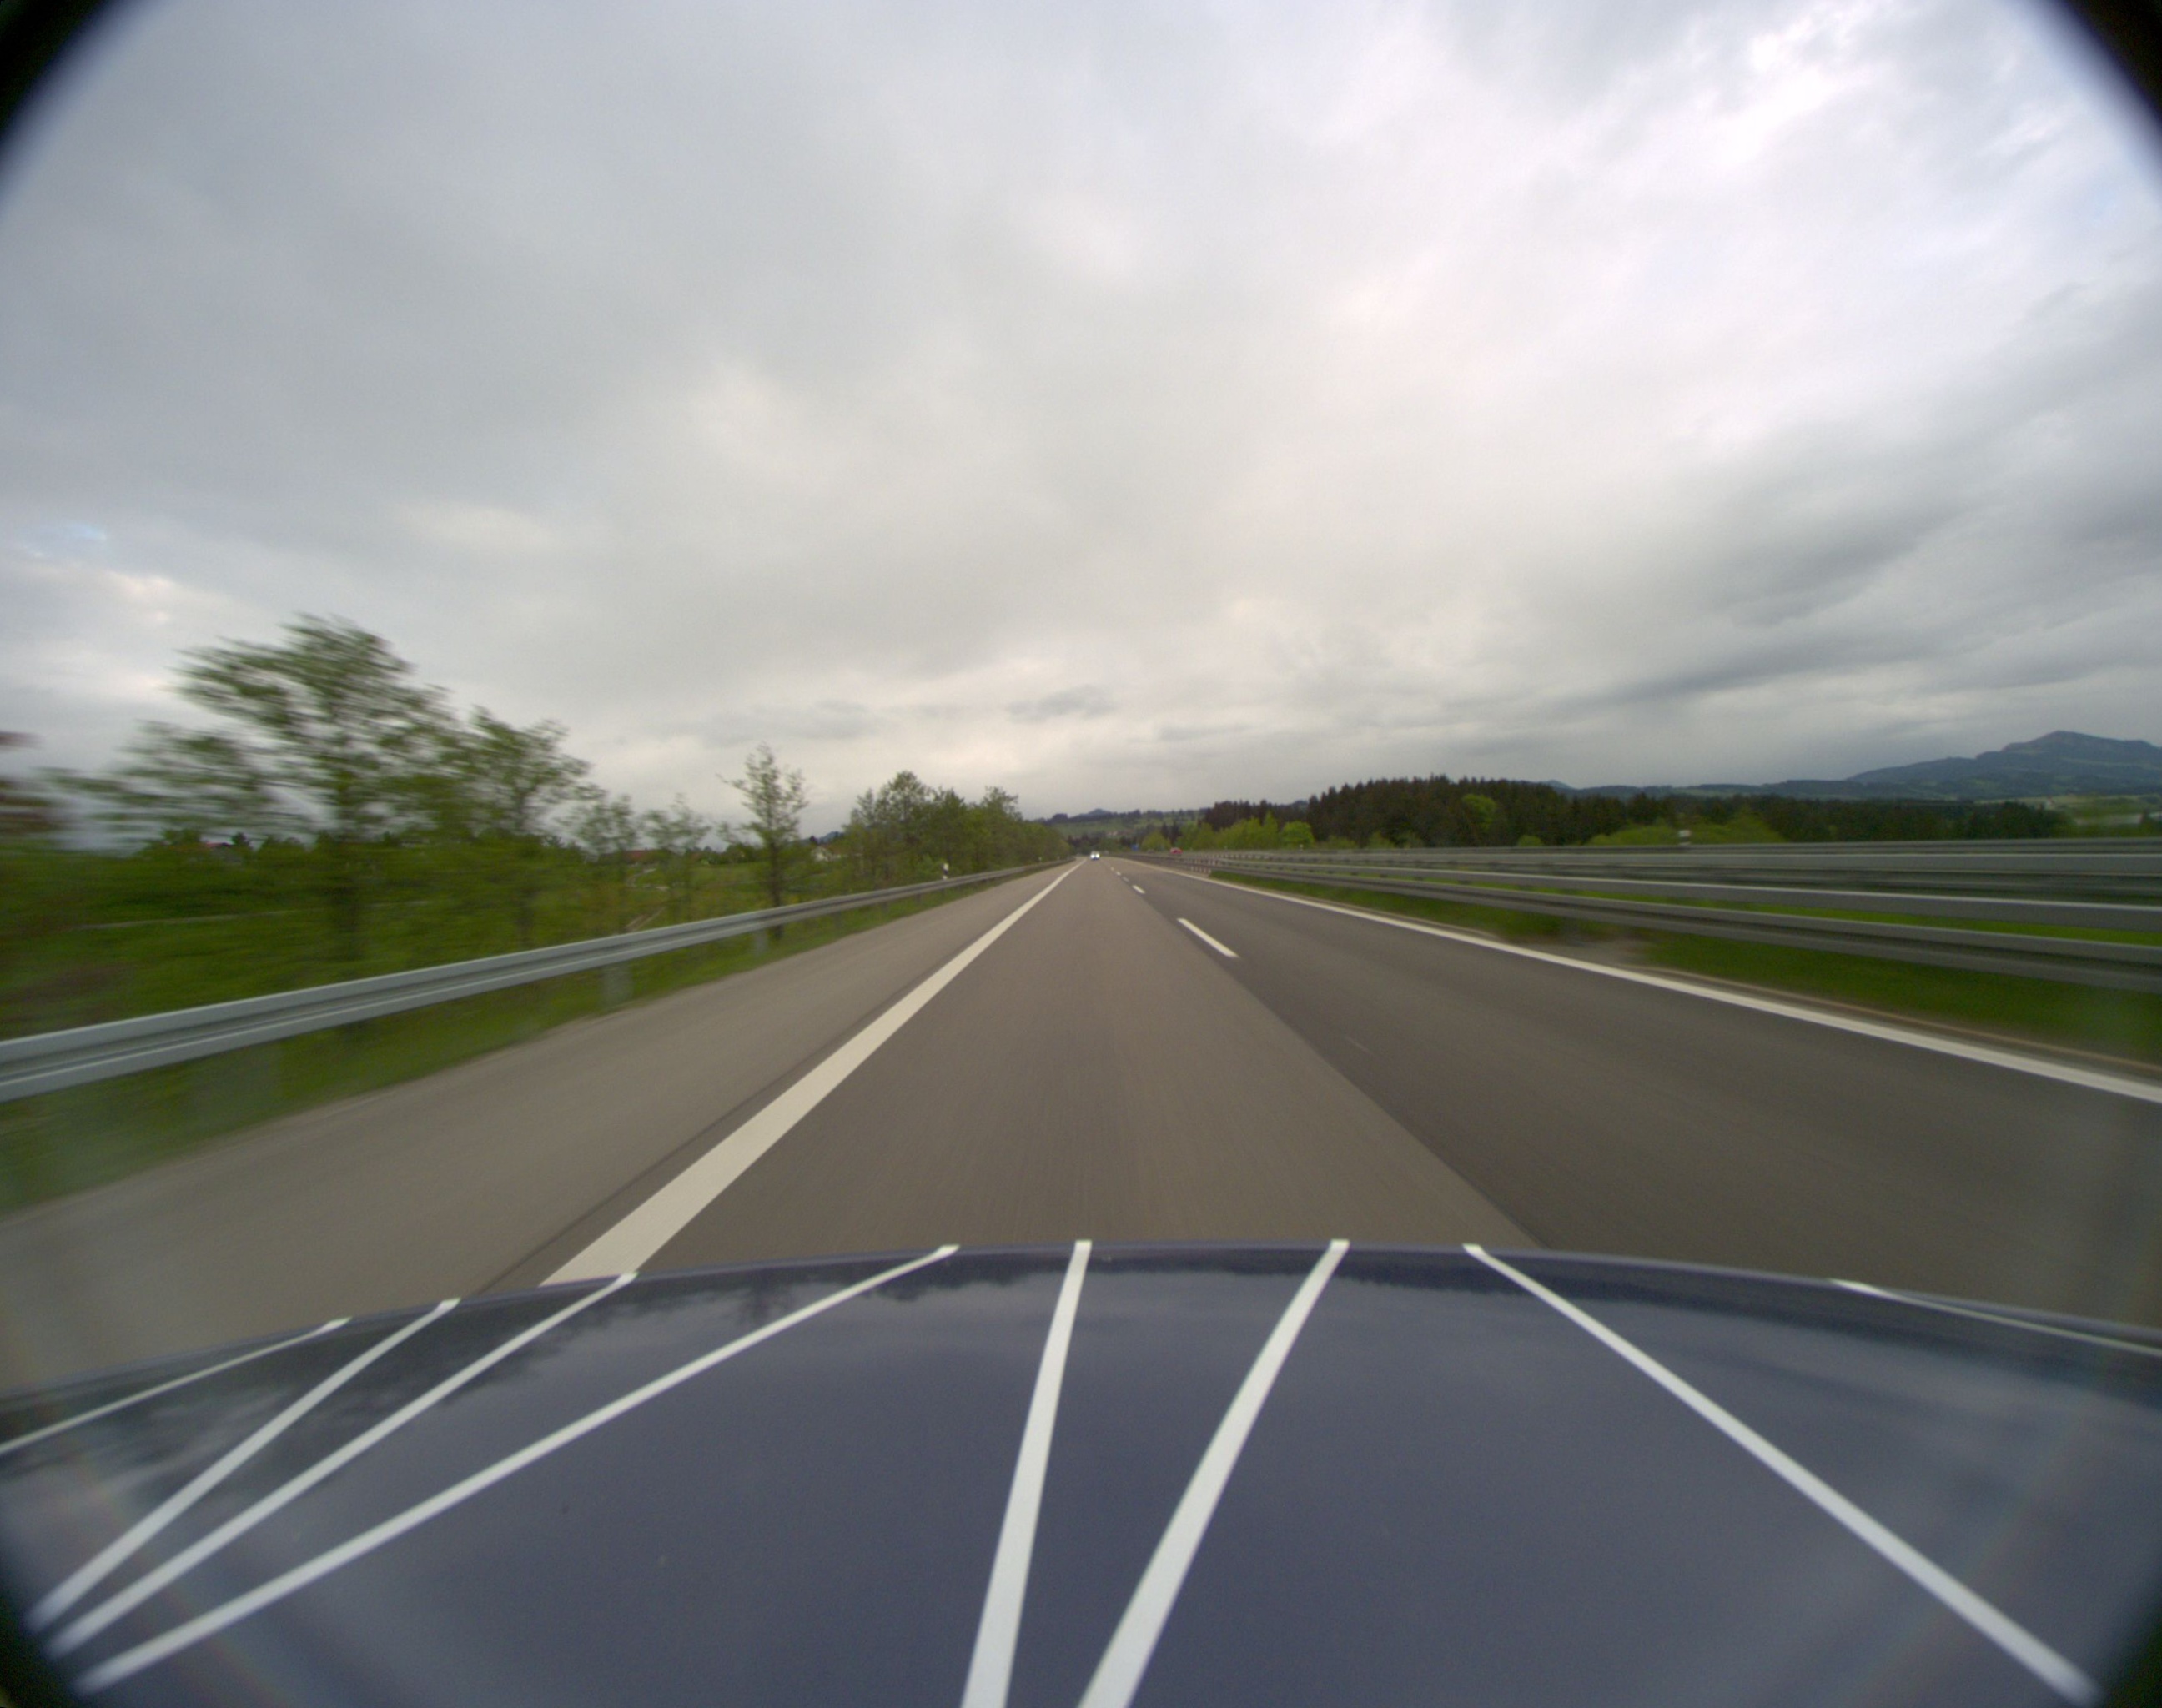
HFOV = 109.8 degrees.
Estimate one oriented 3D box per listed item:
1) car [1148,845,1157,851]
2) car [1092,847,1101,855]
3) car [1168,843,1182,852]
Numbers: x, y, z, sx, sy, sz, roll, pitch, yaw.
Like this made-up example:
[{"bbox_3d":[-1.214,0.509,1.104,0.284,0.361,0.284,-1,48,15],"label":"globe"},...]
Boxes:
[{"bbox_3d":[19.608,-1.682,207.891,1.904,1.603,4.228,-4,1,1],"label":"car"},{"bbox_3d":[3.645,-0.672,176.266,2.021,1.899,4.221,-1,0,1],"label":"car"},{"bbox_3d":[18.348,-1.232,148.444,1.998,1.607,4.846,-3,1,0],"label":"car"}]
